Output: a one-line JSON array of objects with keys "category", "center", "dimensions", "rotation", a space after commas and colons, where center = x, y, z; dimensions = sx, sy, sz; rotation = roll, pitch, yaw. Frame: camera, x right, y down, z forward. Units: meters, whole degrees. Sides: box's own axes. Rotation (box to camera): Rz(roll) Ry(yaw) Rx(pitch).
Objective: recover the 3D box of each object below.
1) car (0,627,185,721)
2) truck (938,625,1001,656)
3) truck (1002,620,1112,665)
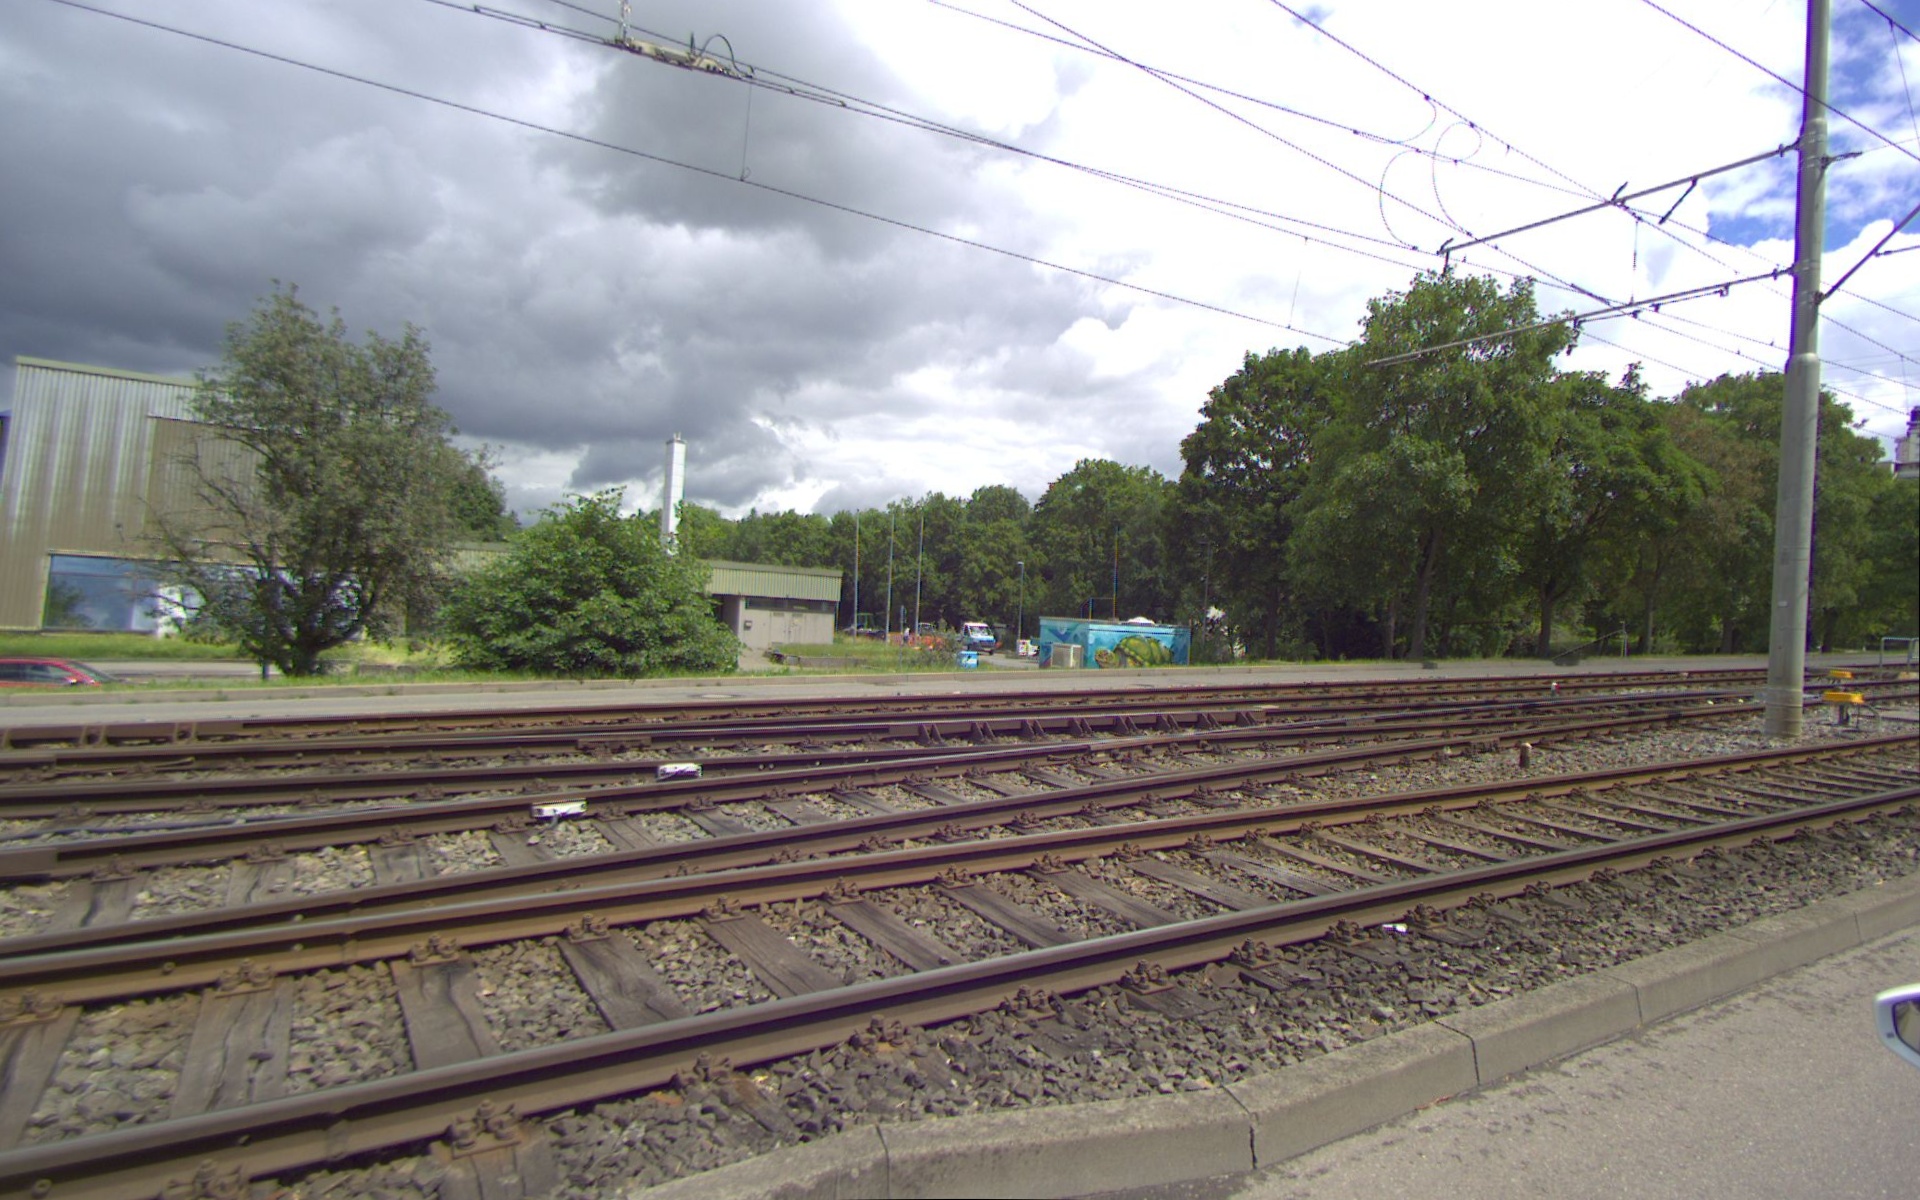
[{"category": "car", "center": [-18.773, 1.488, 20.919], "dimensions": [3.954, 1.795, 1.807], "rotation": [1, 0, -31]}, {"category": "truck", "center": [0.670, 3.031, 76.418], "dimensions": [1.978, 2.207, 5.797], "rotation": [1, -2, -32]}, {"category": "truck", "center": [6.215, 2.731, 66.416], "dimensions": [2.584, 2.731, 9.050], "rotation": [1, -2, -29]}]
